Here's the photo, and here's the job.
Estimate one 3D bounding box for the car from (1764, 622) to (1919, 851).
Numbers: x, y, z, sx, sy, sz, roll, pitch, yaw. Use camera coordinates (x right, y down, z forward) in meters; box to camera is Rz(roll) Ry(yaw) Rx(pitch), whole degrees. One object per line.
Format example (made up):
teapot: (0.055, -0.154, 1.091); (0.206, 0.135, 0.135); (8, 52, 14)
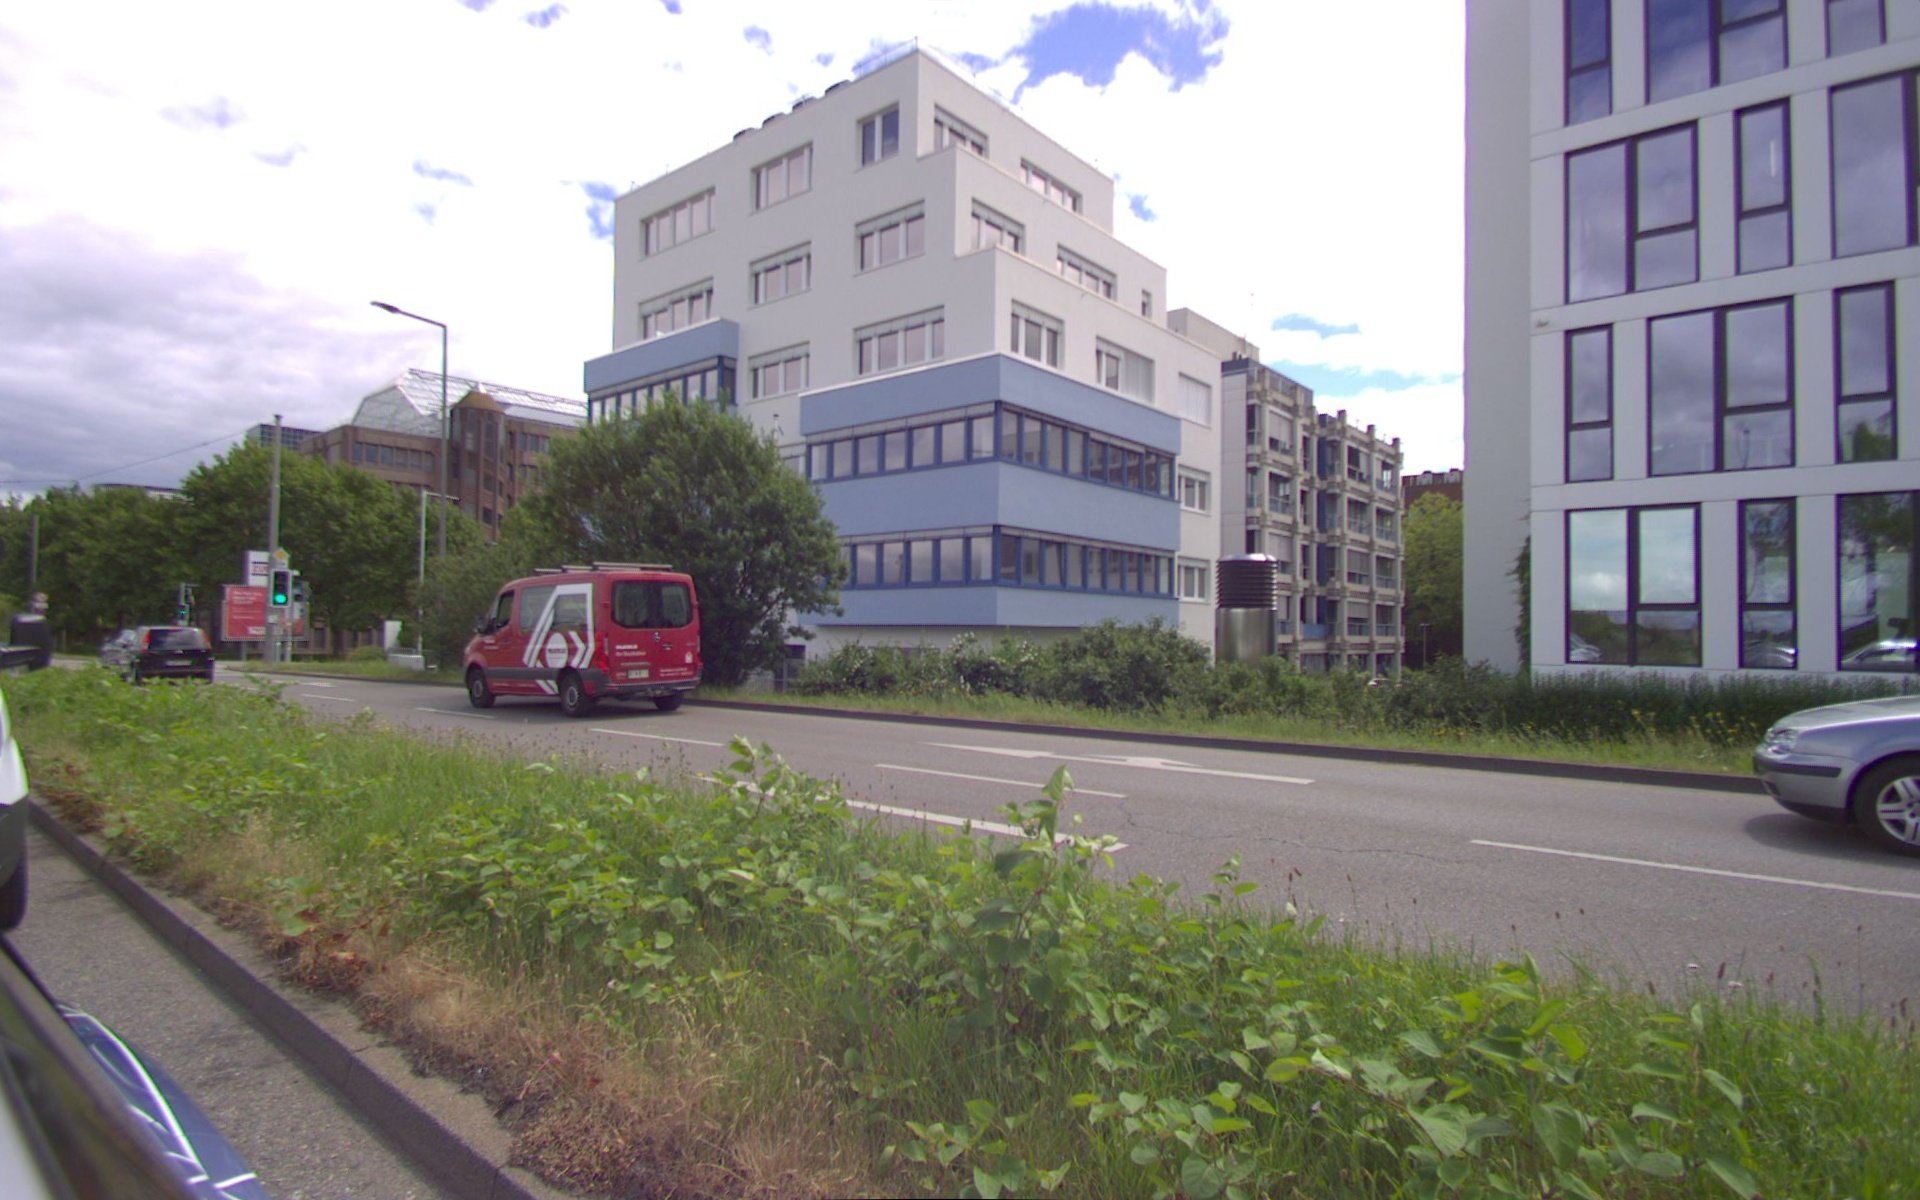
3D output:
car: (7.353, 0.801, 5.967); (3.998, 1.364, 1.973); (-2, -2, 41)

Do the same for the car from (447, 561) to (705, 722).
car: (-6.843, 0.686, 17.736); (5.238, 2.430, 1.973); (-1, -2, 41)

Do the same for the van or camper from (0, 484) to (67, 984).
van or camper: (-6.670, 0.574, 5.273); (5.791, 2.029, 1.974); (-2, -3, 38)

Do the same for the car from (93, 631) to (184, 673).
car: (-30.098, 1.872, 37.039); (3.997, 1.409, 1.913); (-2, -2, 41)

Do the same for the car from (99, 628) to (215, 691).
car: (-20.929, 1.491, 26.326); (3.998, 1.494, 1.661); (-2, -2, 41)
